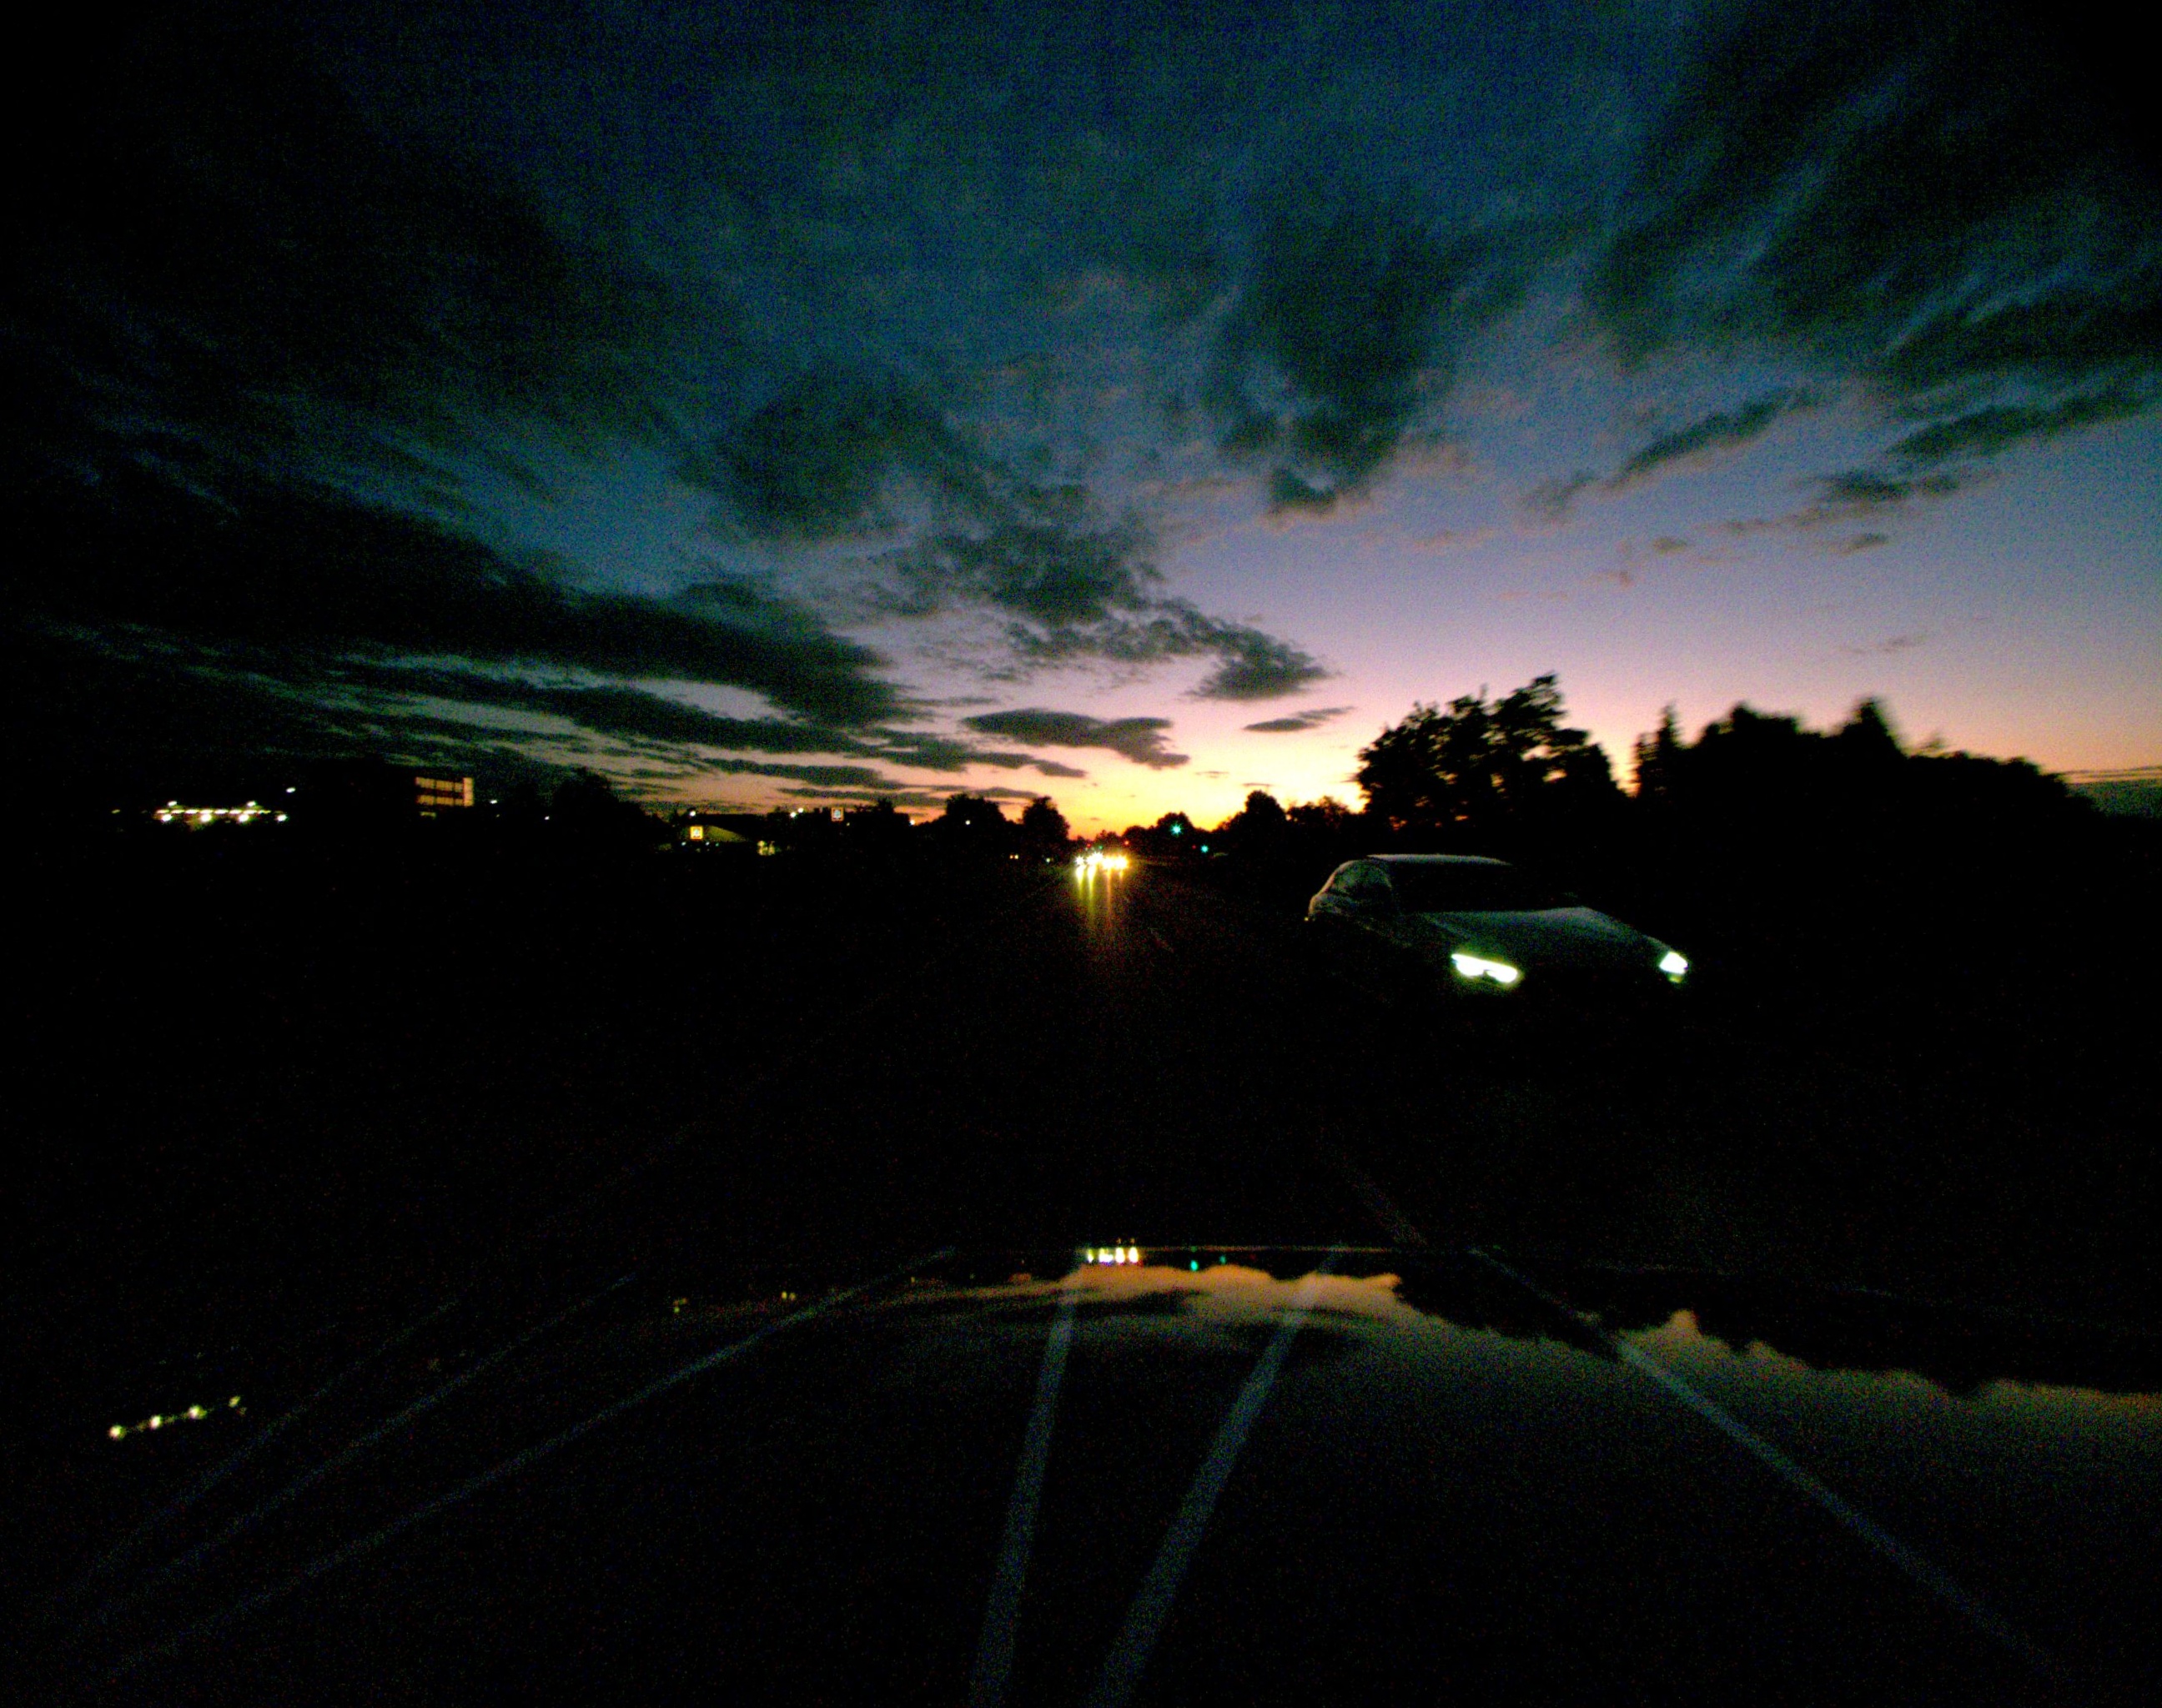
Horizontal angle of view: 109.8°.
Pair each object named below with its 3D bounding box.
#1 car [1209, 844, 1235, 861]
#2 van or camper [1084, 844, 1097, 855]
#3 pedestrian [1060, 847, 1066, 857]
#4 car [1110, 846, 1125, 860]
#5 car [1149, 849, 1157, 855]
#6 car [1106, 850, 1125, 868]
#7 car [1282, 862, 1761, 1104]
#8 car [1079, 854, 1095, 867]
[{"bbox_3d":[13.219,-0.150,71.606,1.659,1.496,4.000,-2,0,0],"label":"car"},{"bbox_3d":[2.813,-1.394,226.651,3.949,3.107,9.942,0,0,1],"label":"van or camper"},{"bbox_3d":[-3.599,-0.392,151.507,0.782,2.002,0.712,-3,2,-38],"label":"pedestrian"},{"bbox_3d":[4.832,-0.120,101.237,1.760,1.692,4.250,-2,0,1],"label":"car"},{"bbox_3d":[18.300,-0.577,192.235,1.656,1.376,4.029,-2,1,0],"label":"car"},{"bbox_3d":[3.116,0.449,69.403,1.663,1.528,3.715,-2,0,1],"label":"car"},{"bbox_3d":[3.381,0.837,7.104,1.819,1.428,4.647,-3,-1,2],"label":"car"},{"bbox_3d":[0.846,0.848,97.175,1.902,1.547,4.301,-3,0,1],"label":"car"}]
